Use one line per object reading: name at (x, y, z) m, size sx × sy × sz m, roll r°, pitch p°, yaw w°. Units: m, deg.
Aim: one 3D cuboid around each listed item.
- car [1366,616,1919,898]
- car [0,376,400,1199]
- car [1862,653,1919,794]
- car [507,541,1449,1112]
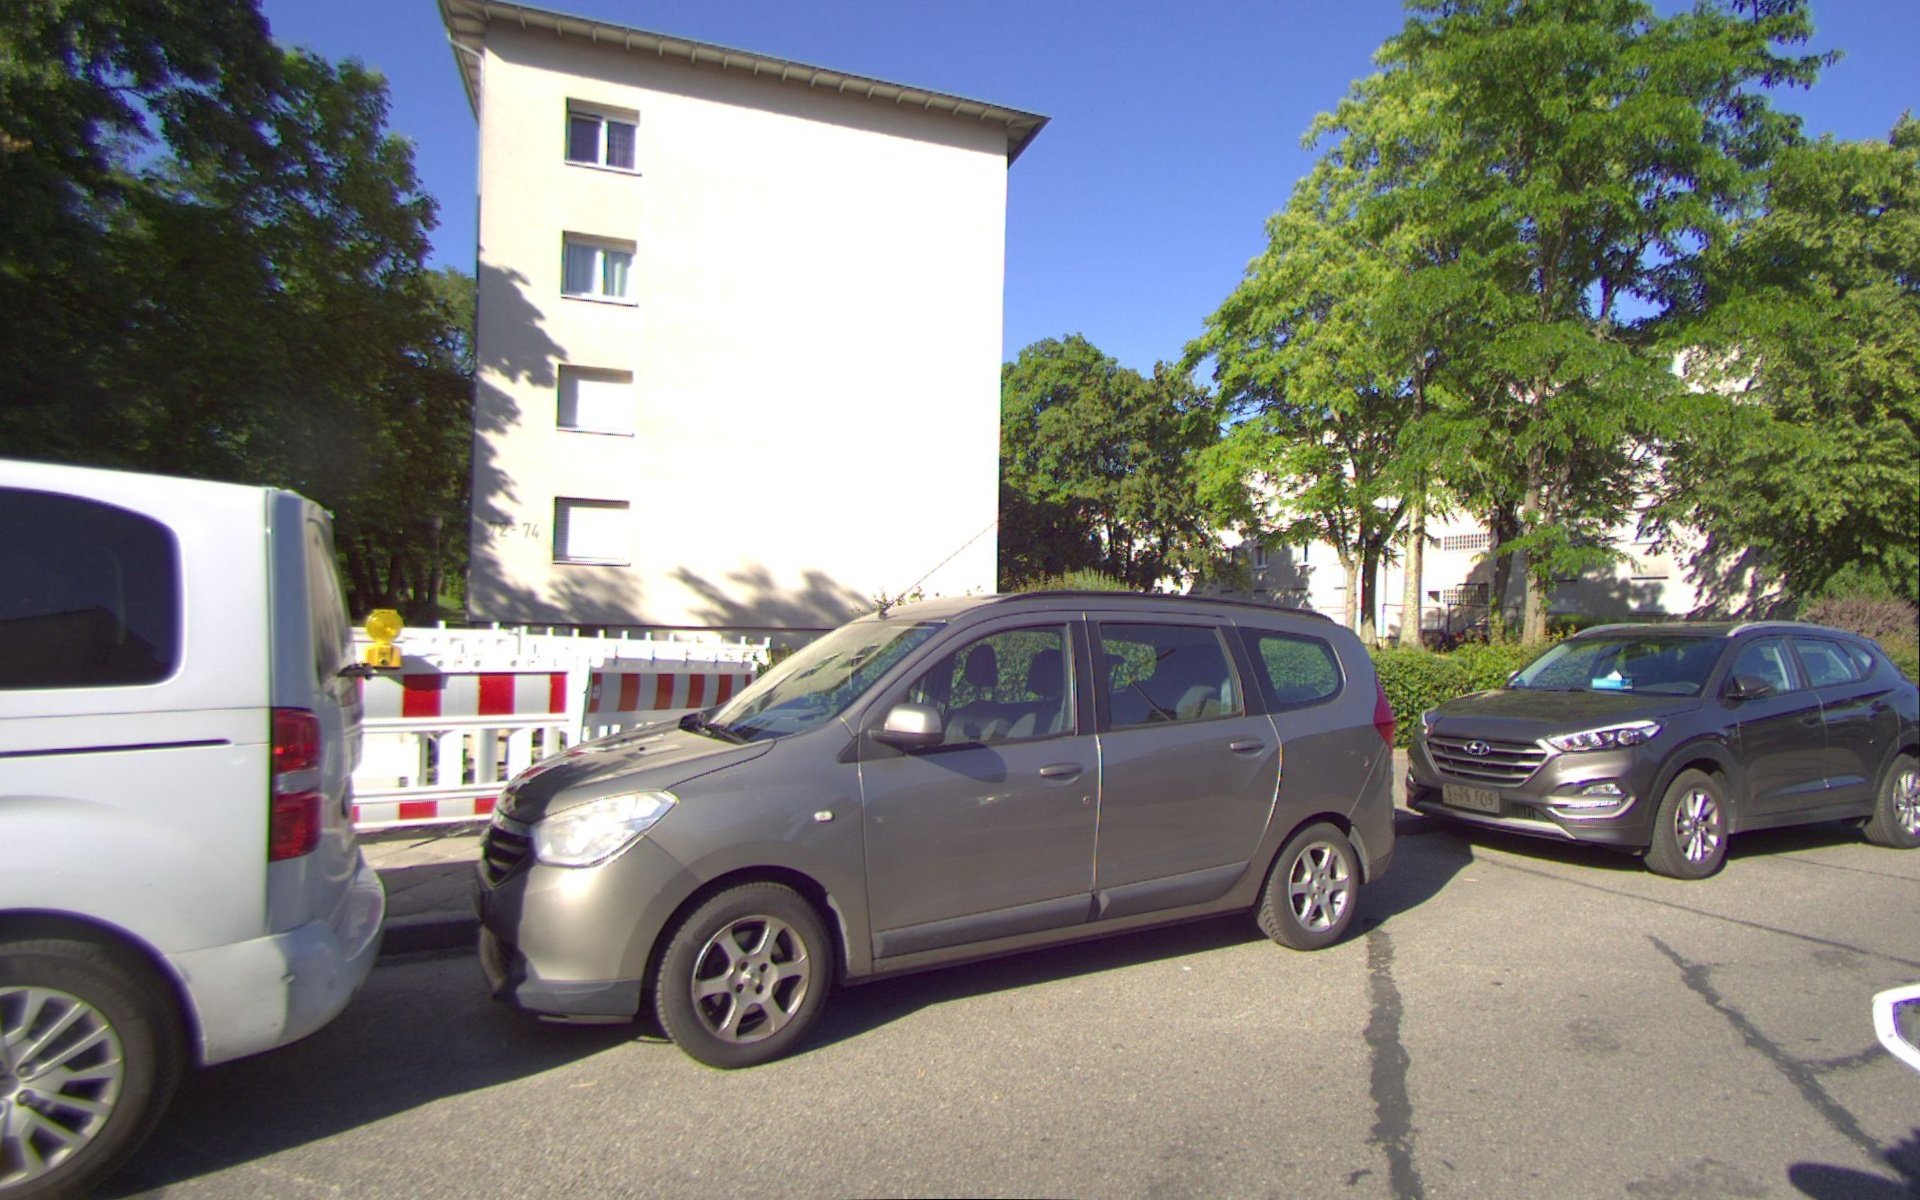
car at (5.318, 0.981, 7.562) m, size 4.303 × 1.639 × 1.743 m, roll 2°, pitch -1°, yaw -25°
car at (-4.040, 0.430, 2.465) m, size 4.615 × 1.987 × 1.855 m, roll 2°, pitch -1°, yaw -30°
car at (11.912, 1.339, 11.030) m, size 3.948 × 1.456 × 1.665 m, roll 2°, pitch -3°, yaw -27°
car at (0.248, 0.757, 4.790) m, size 4.286 × 1.745 × 1.549 m, roll 2°, pitch -1°, yaw -28°
